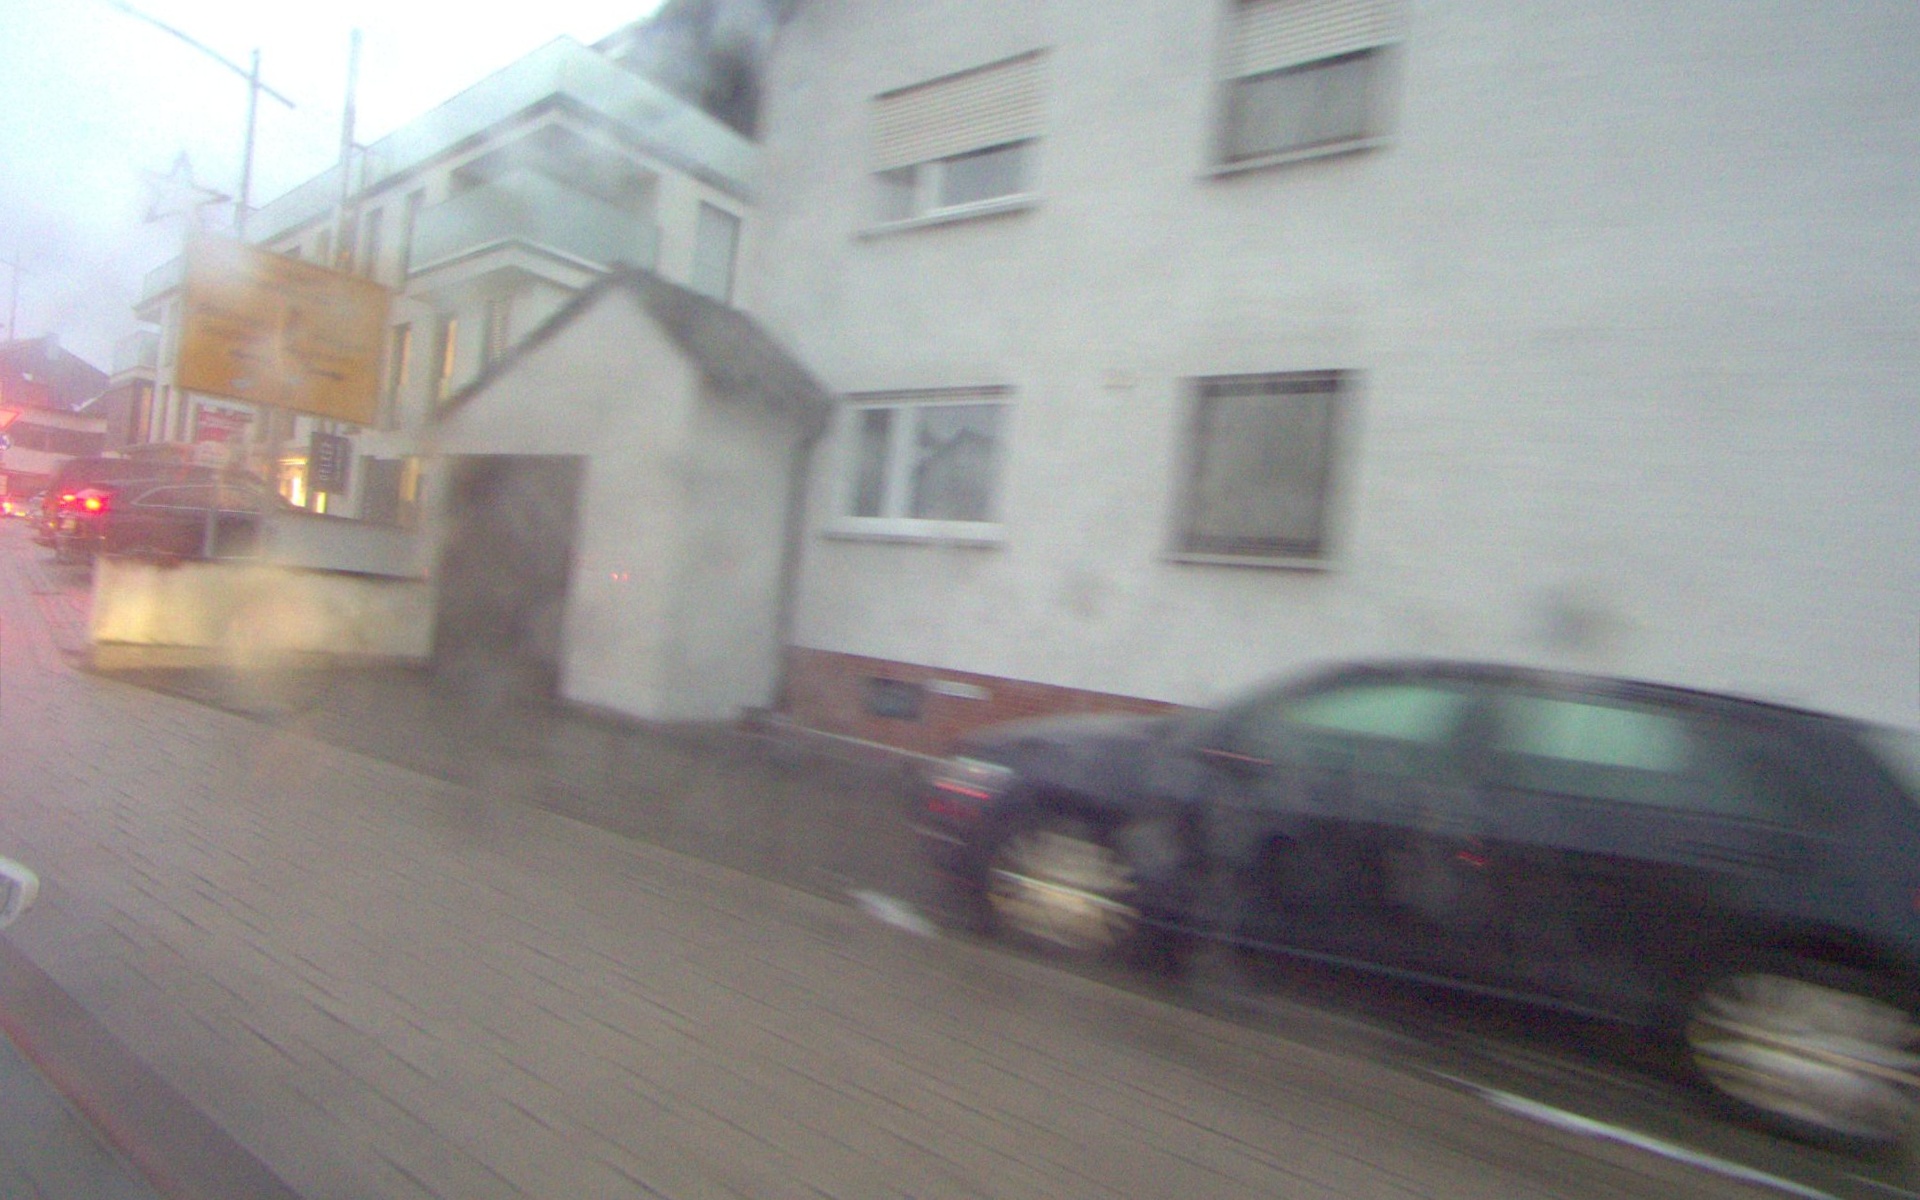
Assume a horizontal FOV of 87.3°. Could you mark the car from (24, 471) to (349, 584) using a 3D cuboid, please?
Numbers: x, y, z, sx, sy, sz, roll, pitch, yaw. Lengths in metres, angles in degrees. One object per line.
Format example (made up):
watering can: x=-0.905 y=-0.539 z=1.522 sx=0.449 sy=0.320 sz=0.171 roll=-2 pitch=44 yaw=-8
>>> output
car: x=-13.369 y=-1.246 z=17.668 sx=1.774 sy=1.663 sz=4.169 roll=7 pitch=6 yaw=32

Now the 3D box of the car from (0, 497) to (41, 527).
car: x=-50.560 y=-4.749 z=54.036 sx=1.556 sy=1.432 sz=3.562 roll=2 pitch=3 yaw=-39

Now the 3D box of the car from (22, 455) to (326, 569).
car: x=-15.768 y=-1.705 z=20.411 sx=1.921 sy=1.947 sz=4.550 roll=6 pitch=4 yaw=39

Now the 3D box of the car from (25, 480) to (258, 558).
car: x=-20.470 y=-1.986 z=25.341 sx=1.765 sy=1.479 sz=4.203 roll=6 pitch=2 yaw=34

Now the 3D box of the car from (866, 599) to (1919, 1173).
car: x=1.746 y=0.923 z=4.556 sx=3.841 sy=1.412 sz=1.769 roll=6 pitch=1 yaw=21

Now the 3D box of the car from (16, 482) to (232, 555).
car: x=-22.701 y=-2.179 z=27.464 sx=1.765 sy=1.479 sz=4.203 roll=6 pitch=2 yaw=34
